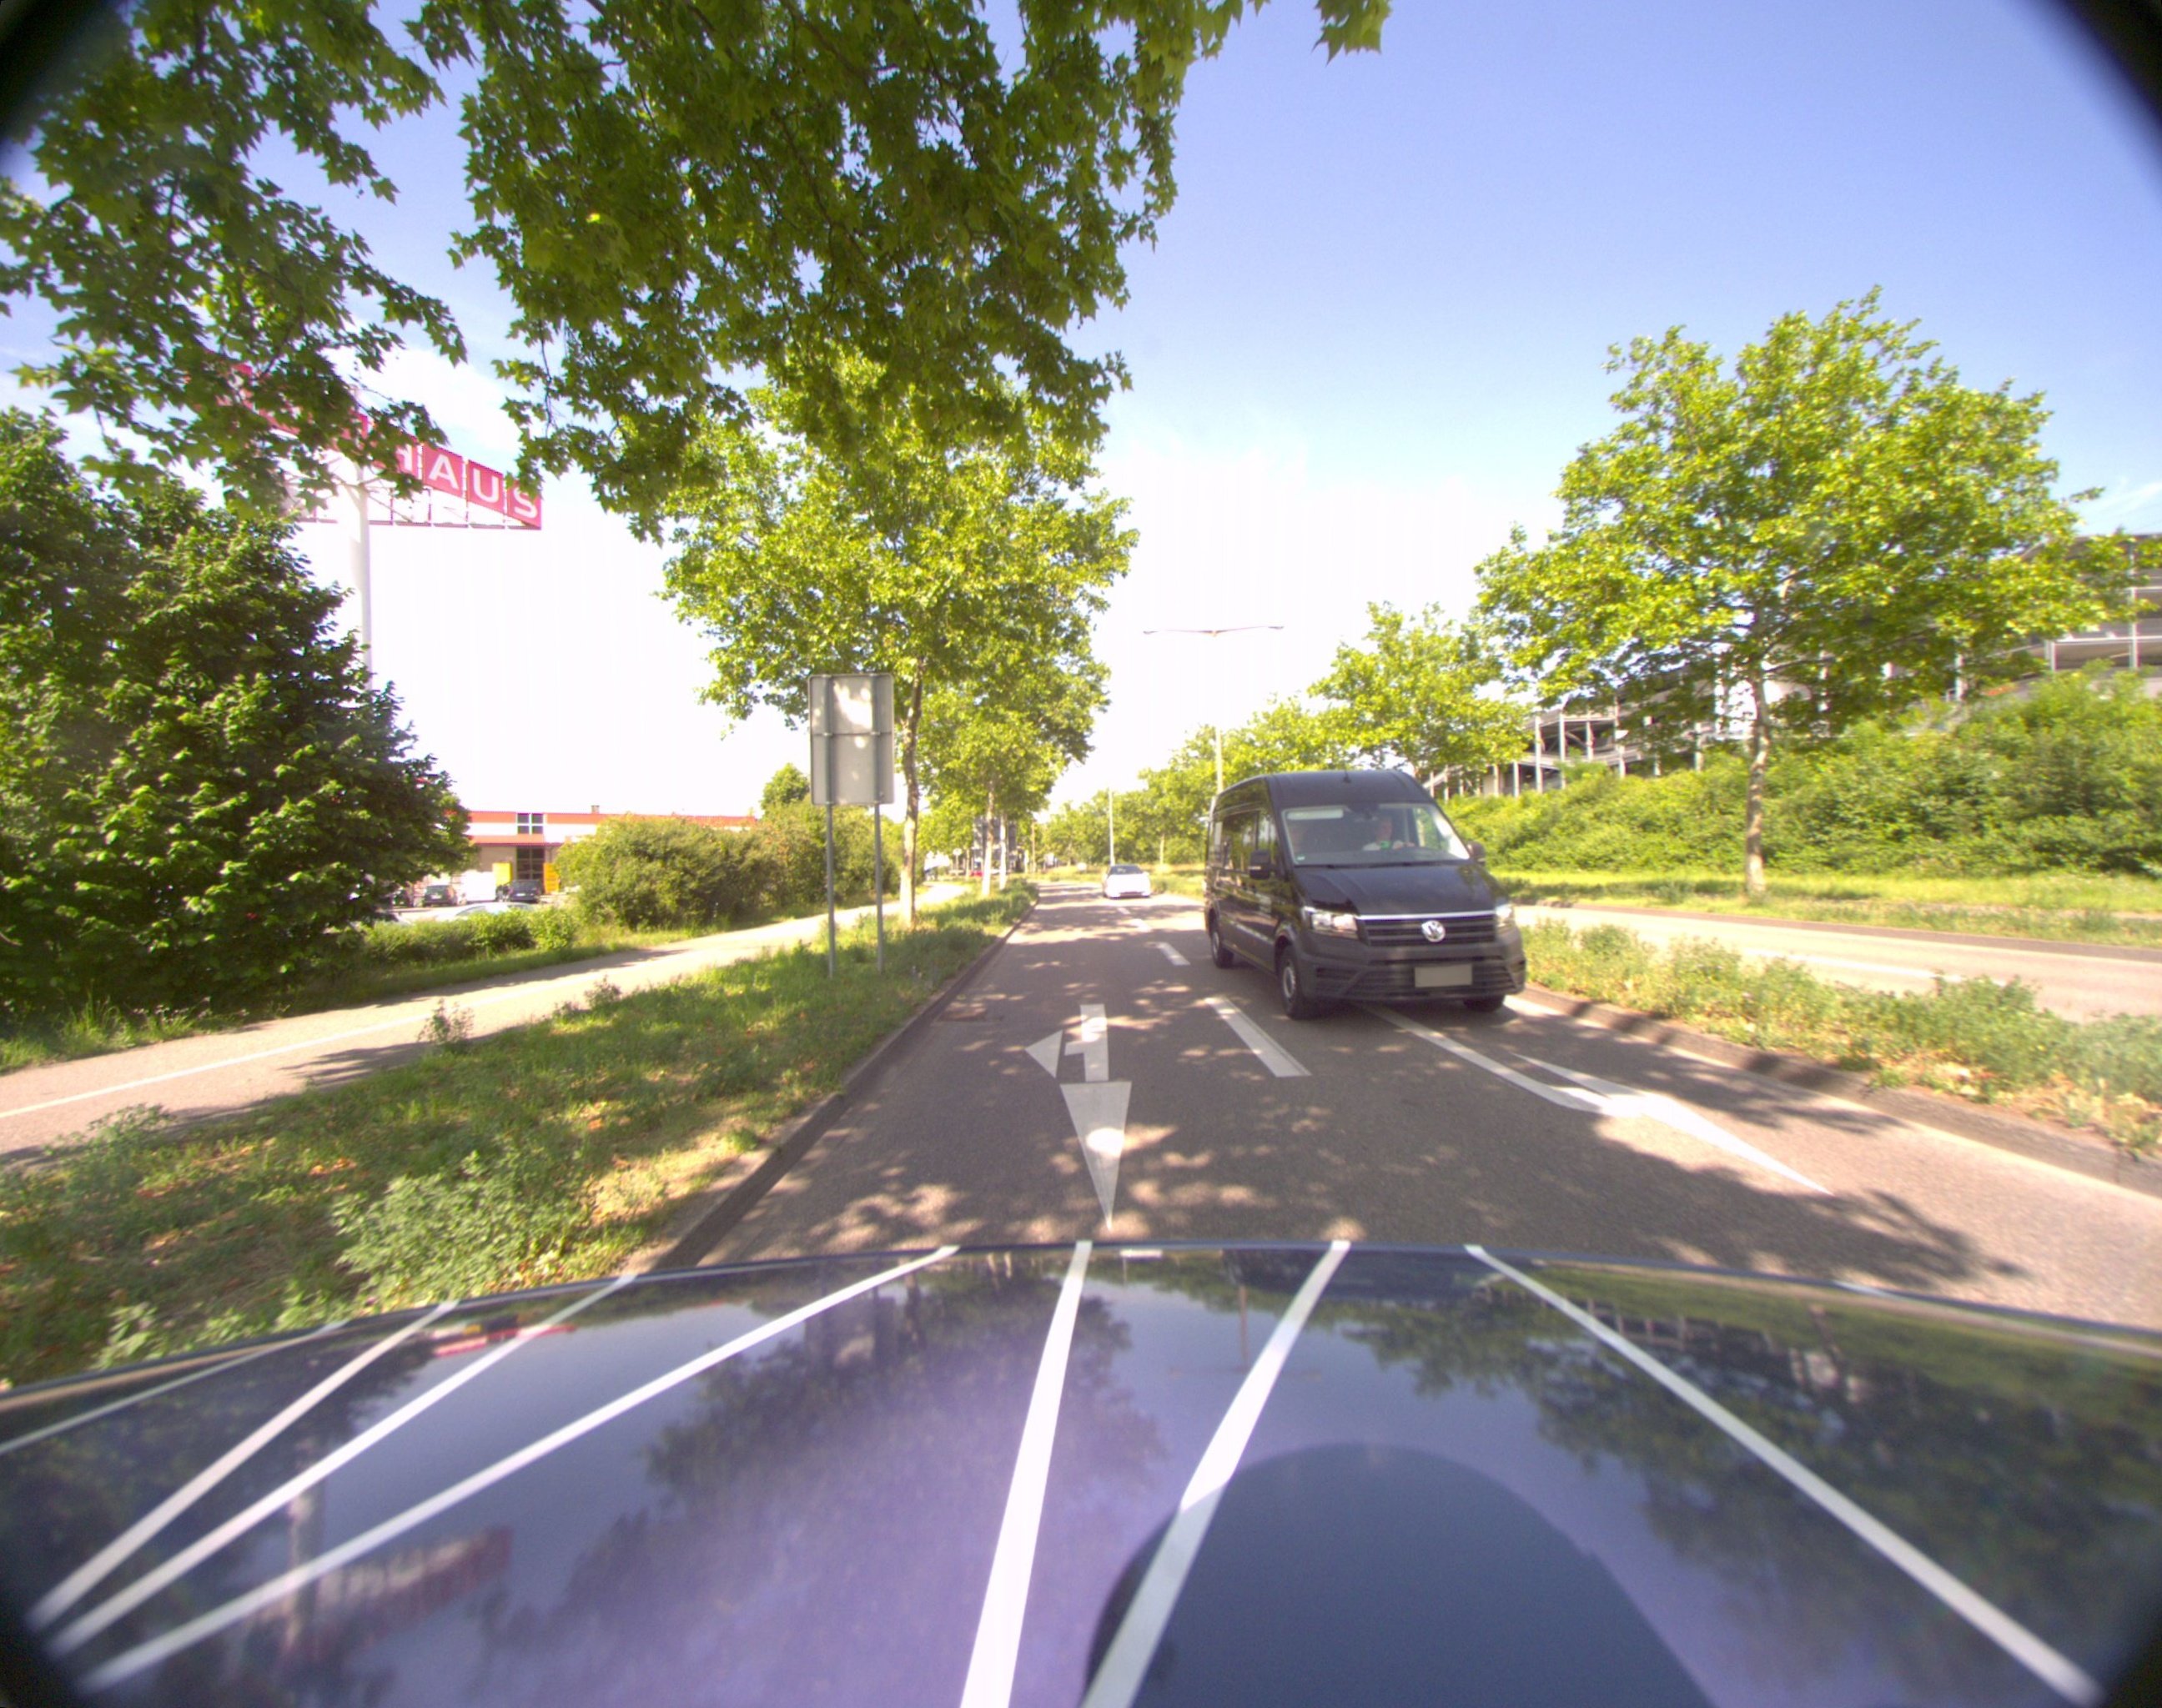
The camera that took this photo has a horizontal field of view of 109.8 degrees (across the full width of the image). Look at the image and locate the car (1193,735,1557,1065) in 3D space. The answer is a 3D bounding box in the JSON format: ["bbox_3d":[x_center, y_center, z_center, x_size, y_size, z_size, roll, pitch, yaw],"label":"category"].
[{"bbox_3d":[2.834,0.375,9.239,2.021,2.592,6.168,-2,0,1],"label":"car"}]

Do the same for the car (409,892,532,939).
[{"bbox_3d":[-20.941,2.092,26.118,3.161,1.447,1.195,-1,0,-2],"label":"car"}]

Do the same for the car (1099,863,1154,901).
[{"bbox_3d":[1.983,1.210,34.483,1.824,1.512,4.206,-2,0,-5],"label":"car"}]
